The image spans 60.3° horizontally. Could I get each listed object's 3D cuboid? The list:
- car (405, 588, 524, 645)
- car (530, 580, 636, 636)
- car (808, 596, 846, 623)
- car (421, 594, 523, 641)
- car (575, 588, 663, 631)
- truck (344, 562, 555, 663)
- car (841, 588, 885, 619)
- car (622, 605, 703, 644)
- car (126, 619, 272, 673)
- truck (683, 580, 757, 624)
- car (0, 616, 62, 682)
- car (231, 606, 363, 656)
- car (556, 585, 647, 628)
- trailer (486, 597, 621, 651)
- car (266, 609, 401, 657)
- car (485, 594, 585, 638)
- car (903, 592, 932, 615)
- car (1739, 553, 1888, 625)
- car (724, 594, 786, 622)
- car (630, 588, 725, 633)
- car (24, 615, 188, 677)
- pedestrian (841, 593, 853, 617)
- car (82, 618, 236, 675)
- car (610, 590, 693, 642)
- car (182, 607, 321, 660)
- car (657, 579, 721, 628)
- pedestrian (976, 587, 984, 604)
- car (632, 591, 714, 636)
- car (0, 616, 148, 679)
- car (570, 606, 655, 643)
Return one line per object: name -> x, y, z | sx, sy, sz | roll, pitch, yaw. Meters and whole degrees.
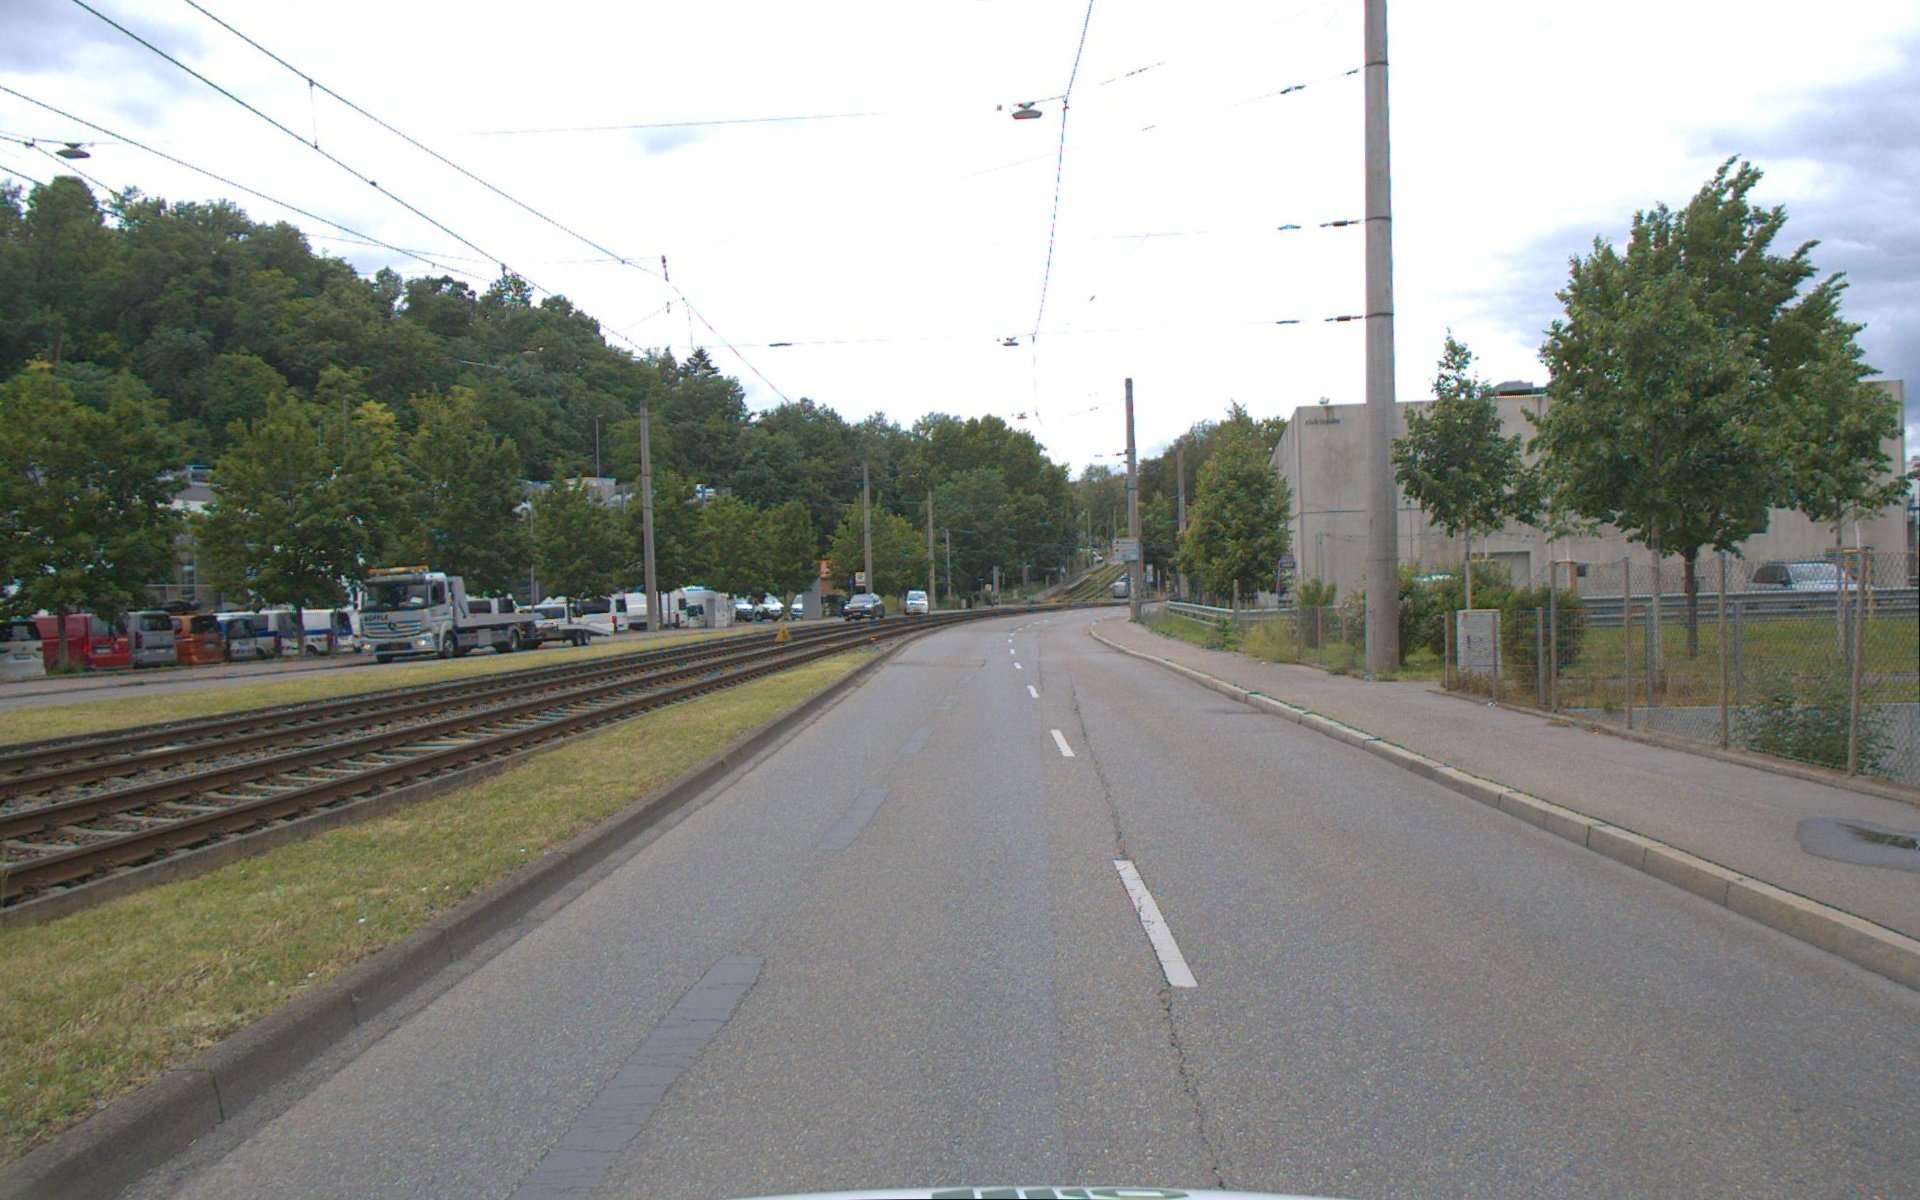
car -> -21.519, 0.694, 71.890 | 4.400, 2.352, 2.127 | -1, 0, 11
car -> -19.567, 0.424, 85.970 | 4.860, 2.745, 2.117 | -1, 0, 7
car -> -10.872, 0.760, 135.586 | 1.951, 2.049, 5.134 | -2, 0, 9
car -> -29.593, 1.068, 100.292 | 5.844, 2.647, 1.993 | -2, 0, -19
car -> -18.775, 0.514, 91.040 | 4.273, 2.211, 2.006 | -1, 0, 7
truck -> -16.078, 0.346, 53.024 | 2.698, 2.789, 9.226 | -3, 0, 8
car -> -5.910, 0.230, 101.237 | 1.952, 1.769, 4.536 | -4, -1, 4
car -> -17.721, 1.443, 98.554 | 4.273, 2.142, 2.006 | -1, 0, 7
car -> -24.910, 1.495, 54.200 | 3.902, 1.646, 2.002 | -1, 0, 12
truck -> -18.057, 0.144, 124.327 | 5.828, 3.139, 2.109 | -2, 0, 40
car -> -26.455, 1.327, 43.867 | 4.252, 1.646, 2.122 | -1, 0, 12
car -> -23.708, 1.094, 59.203 | 3.902, 1.646, 2.002 | -1, 0, 12
car -> -19.199, 0.342, 88.695 | 4.273, 2.211, 2.006 | -1, 0, 7
trailer -> -14.860, 0.838, 61.032 | 2.332, 1.727, 6.954 | -4, 0, 8
car -> -23.211, 1.219, 61.334 | 4.272, 1.646, 2.006 | -1, 0, 12
car -> -21.048, 0.772, 81.998 | 4.273, 2.045, 2.006 | -2, 0, 7
car -> -3.608, 0.276, 138.921 | 2.117, 1.921, 5.066 | 1, 0, -6
car -> 22.636, -0.288, 44.072 | 1.871, 1.750, 4.691 | -2, 0, 5
car -> -15.639, 0.613, 125.948 | 4.639, 2.049, 1.991 | -2, 0, 38
car -> -17.728, 0.672, 103.991 | 5.355, 2.647, 2.249 | -1, 0, 11
car -> -25.472, 1.368, 49.375 | 3.902, 1.693, 2.050 | -1, 0, 12
pedestrian -> -8.145, 0.359, 119.421 | 0.703, 1.684, 1.043 | 1, 1, 3
car -> -25.081, 1.443, 51.862 | 3.902, 1.646, 2.002 | -1, 0, 12
car -> -17.920, 0.920, 96.157 | 4.273, 2.868, 2.006 | -1, 0, 7
car -> -24.165, 1.133, 56.483 | 3.902, 1.646, 2.002 | -1, 0, 12
car -> -17.895, 0.208, 109.522 | 2.063, 3.072, 5.942 | -2, 0, 12
pedestrian -> 1.990, -0.461, 167.154 | 0.614, 1.743, 0.856 | 0, 0, 13
car -> -17.497, 0.812, 100.916 | 4.277, 2.140, 2.006 | 8, 1, 7
car -> -25.577, 1.346, 46.963 | 4.089, 1.646, 2.065 | -1, 0, 12
car -> -19.690, 1.359, 93.870 | 4.273, 1.944, 2.006 | -2, 0, 7
